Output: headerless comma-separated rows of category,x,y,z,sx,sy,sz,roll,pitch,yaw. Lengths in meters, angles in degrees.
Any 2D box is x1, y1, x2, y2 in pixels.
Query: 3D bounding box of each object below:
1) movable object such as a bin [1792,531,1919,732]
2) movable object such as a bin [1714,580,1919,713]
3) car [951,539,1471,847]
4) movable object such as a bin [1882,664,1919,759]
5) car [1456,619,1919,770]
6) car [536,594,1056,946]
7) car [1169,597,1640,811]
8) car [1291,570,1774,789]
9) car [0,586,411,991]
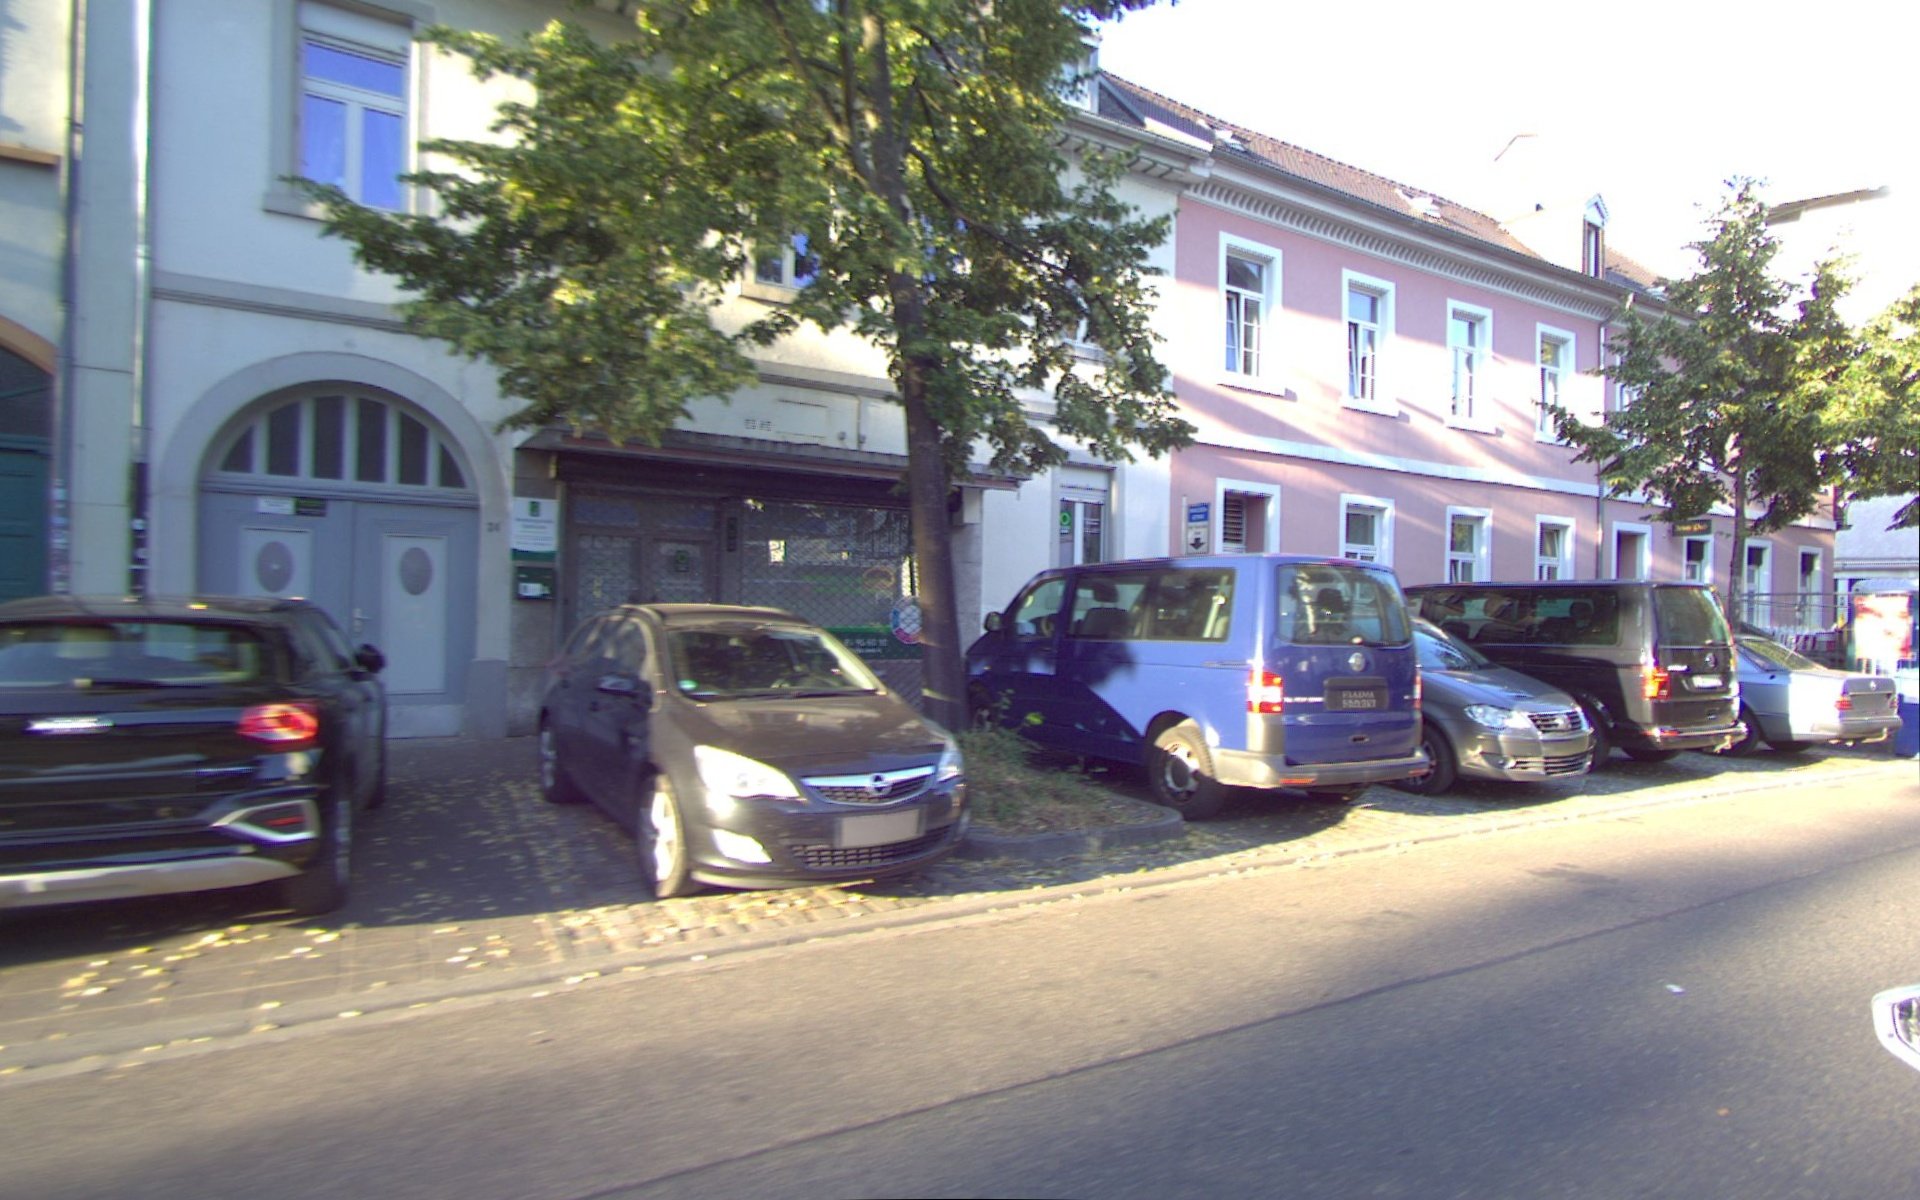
movable object such as a bin,16.483,0.533,16.559,5.241,3.008,2.612,2,-1,-30
movable object such as a bin,18.991,0.928,20.200,5.638,2.528,2.315,1,-1,14
car,1.865,0.616,8.990,2.043,2.002,4.464,1,0,-28
movable object such as a bin,11.855,1.351,12.224,0.872,1.119,0.687,1,-2,-28
car,9.114,1.056,13.084,1.868,1.489,4.578,1,0,-26
car,-1.433,0.764,6.767,1.823,1.521,4.298,1,0,-34
car,4.195,0.838,10.212,1.837,1.658,4.112,1,0,-28
car,6.283,0.718,11.619,1.943,2.002,4.460,1,0,-31
car,-4.256,0.703,5.648,1.880,1.521,3.909,1,0,-27
